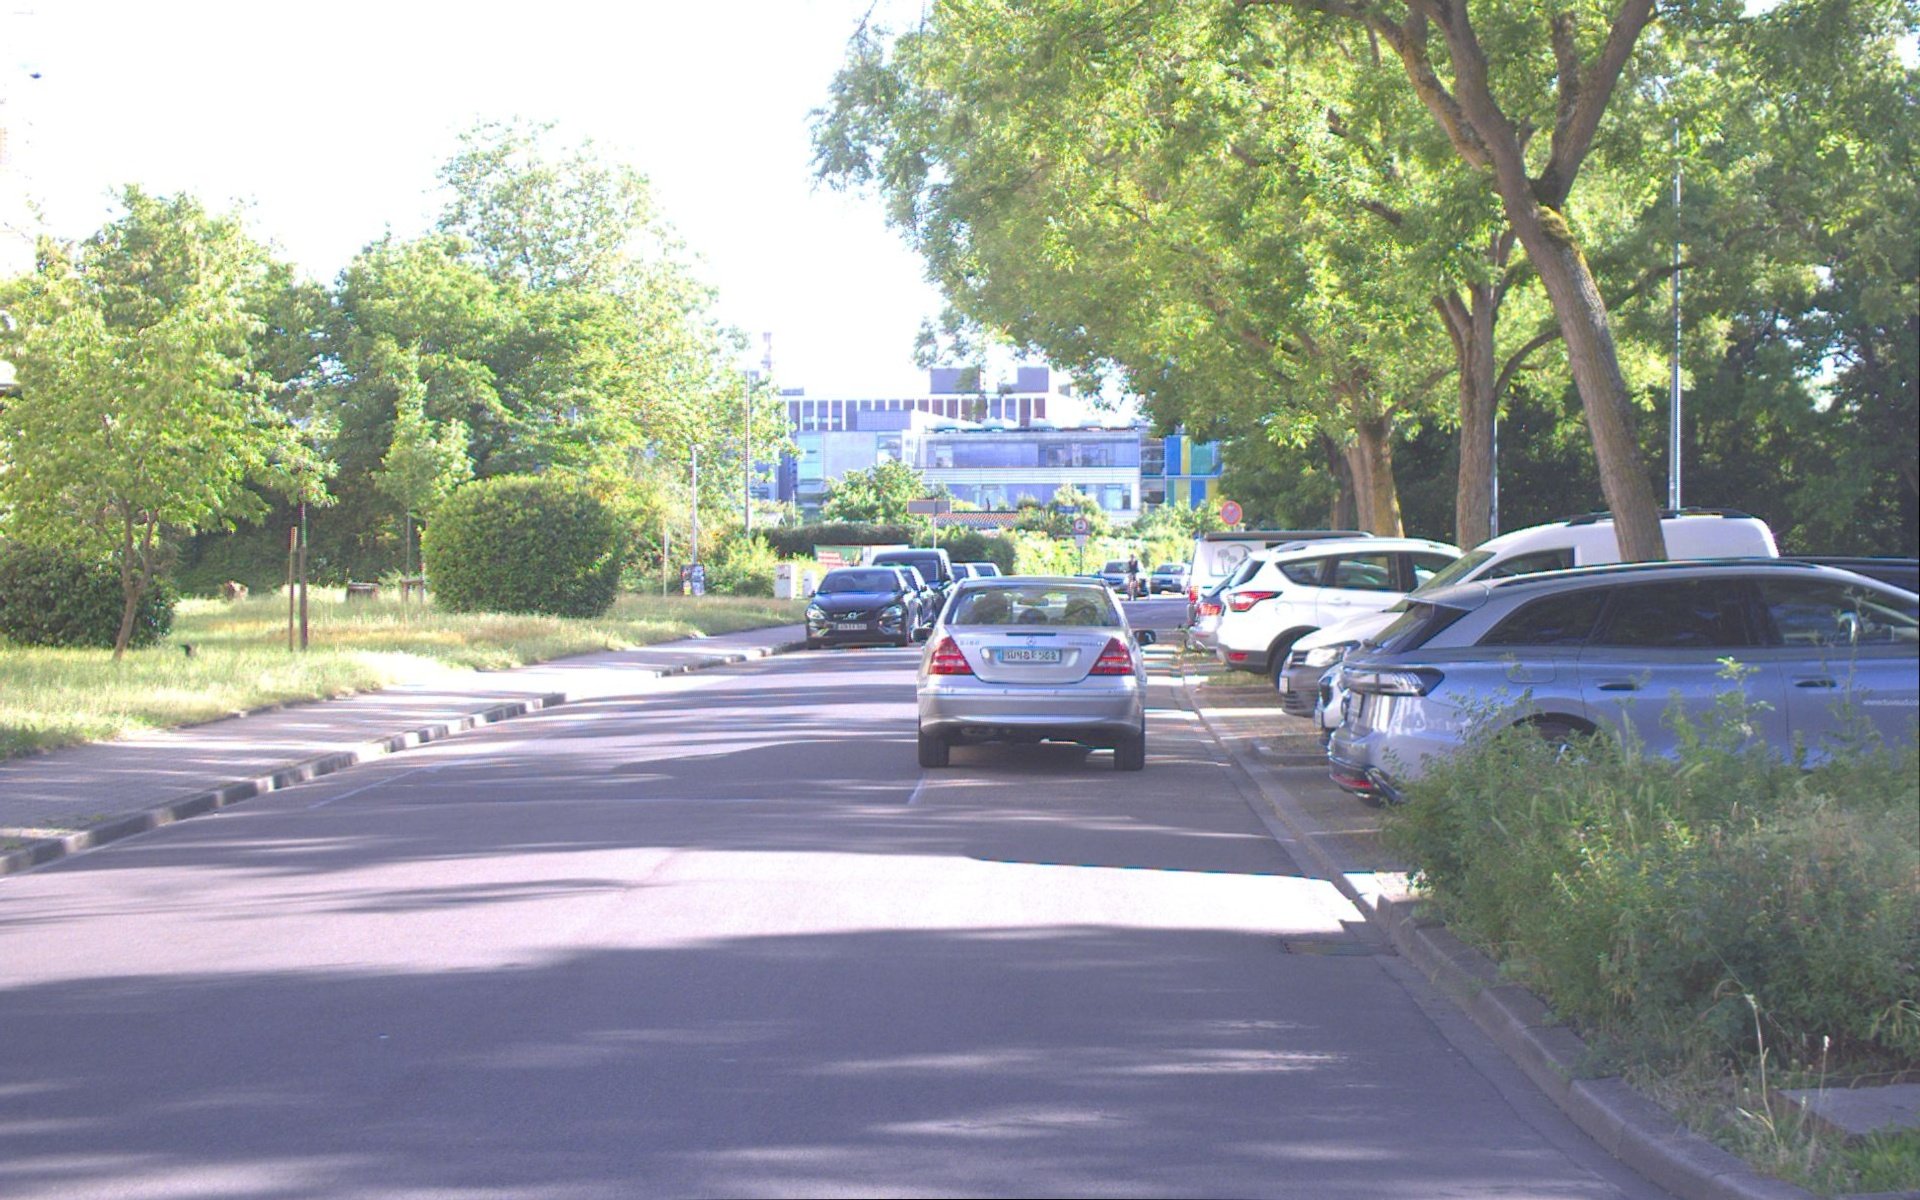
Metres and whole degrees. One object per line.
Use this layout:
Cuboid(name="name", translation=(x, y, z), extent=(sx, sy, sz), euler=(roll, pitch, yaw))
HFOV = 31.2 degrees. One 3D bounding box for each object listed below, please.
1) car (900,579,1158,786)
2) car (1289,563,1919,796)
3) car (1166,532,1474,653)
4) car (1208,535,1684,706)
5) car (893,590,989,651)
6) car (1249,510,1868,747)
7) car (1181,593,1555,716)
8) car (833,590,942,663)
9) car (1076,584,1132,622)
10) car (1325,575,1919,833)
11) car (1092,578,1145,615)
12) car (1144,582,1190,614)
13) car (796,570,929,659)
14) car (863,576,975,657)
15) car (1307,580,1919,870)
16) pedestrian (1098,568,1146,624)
Cuboid(name="car", translation=(0.585, 0.613, 26.166), extent=(1.733, 1.429, 3.437), euler=(1, -1, 5))
Cuboid(name="car", translation=(4.701, 0.538, 24.719), extent=(4.444, 1.512, 2.000), euler=(-1, 0, 0))
Cuboid(name="car", translation=(6.210, -0.146, 59.594), extent=(5.218, 2.052, 2.000), euler=(0, 0, 5))
Cuboid(name="car", translation=(5.154, 0.211, 36.995), extent=(4.885, 1.718, 2.000), euler=(-1, 0, 3))
Cuboid(name="car", translation=(-0.433, 0.474, 80.818), extent=(1.750, 1.325, 3.449), euler=(-2, 0, 8))
Cuboid(name="car", translation=(5.069, 0.222, 29.547), extent=(4.883, 1.917, 2.000), euler=(-1, 1, -4))
Cuboid(name="car", translation=(5.553, 0.728, 47.224), extent=(4.884, 1.622, 2.000), euler=(0, 0, -1))
Cuboid(name="car", translation=(-1.404, 0.508, 68.204), extent=(1.750, 1.318, 3.742), euler=(-2, 0, 4))
Cuboid(name="car", translation=(5.756, 0.113, 137.223), extent=(1.894, 1.497, 3.655), euler=(0, 0, 8))
Cuboid(name="car", translation=(4.603, 0.632, 21.951), extent=(4.427, 1.566, 1.737), euler=(0, 0, 3))
Cuboid(name="car", translation=(6.736, -0.157, 145.455), extent=(1.894, 1.497, 3.655), euler=(0, 0, 8))
Cuboid(name="car", translation=(9.827, -0.106, 162.950), extent=(1.894, 1.497, 3.655), euler=(0, 0, 8))
Cuboid(name="car", translation=(-1.734, 0.241, 62.220), extent=(1.913, 1.485, 3.836), euler=(-2, 0, 5))
Cuboid(name="car", translation=(-0.846, 0.330, 74.258), extent=(1.750, 1.683, 4.262), euler=(-1, 0, 8))
Cuboid(name="car", translation=(4.461, 0.666, 19.474), extent=(4.782, 1.544, 2.011), euler=(0, 0, 0))
Cuboid(name="pedestrian", translation=(6.150, -0.161, 130.253), extent=(1.575, 2.082, 1.723), euler=(0, 0, 11))
